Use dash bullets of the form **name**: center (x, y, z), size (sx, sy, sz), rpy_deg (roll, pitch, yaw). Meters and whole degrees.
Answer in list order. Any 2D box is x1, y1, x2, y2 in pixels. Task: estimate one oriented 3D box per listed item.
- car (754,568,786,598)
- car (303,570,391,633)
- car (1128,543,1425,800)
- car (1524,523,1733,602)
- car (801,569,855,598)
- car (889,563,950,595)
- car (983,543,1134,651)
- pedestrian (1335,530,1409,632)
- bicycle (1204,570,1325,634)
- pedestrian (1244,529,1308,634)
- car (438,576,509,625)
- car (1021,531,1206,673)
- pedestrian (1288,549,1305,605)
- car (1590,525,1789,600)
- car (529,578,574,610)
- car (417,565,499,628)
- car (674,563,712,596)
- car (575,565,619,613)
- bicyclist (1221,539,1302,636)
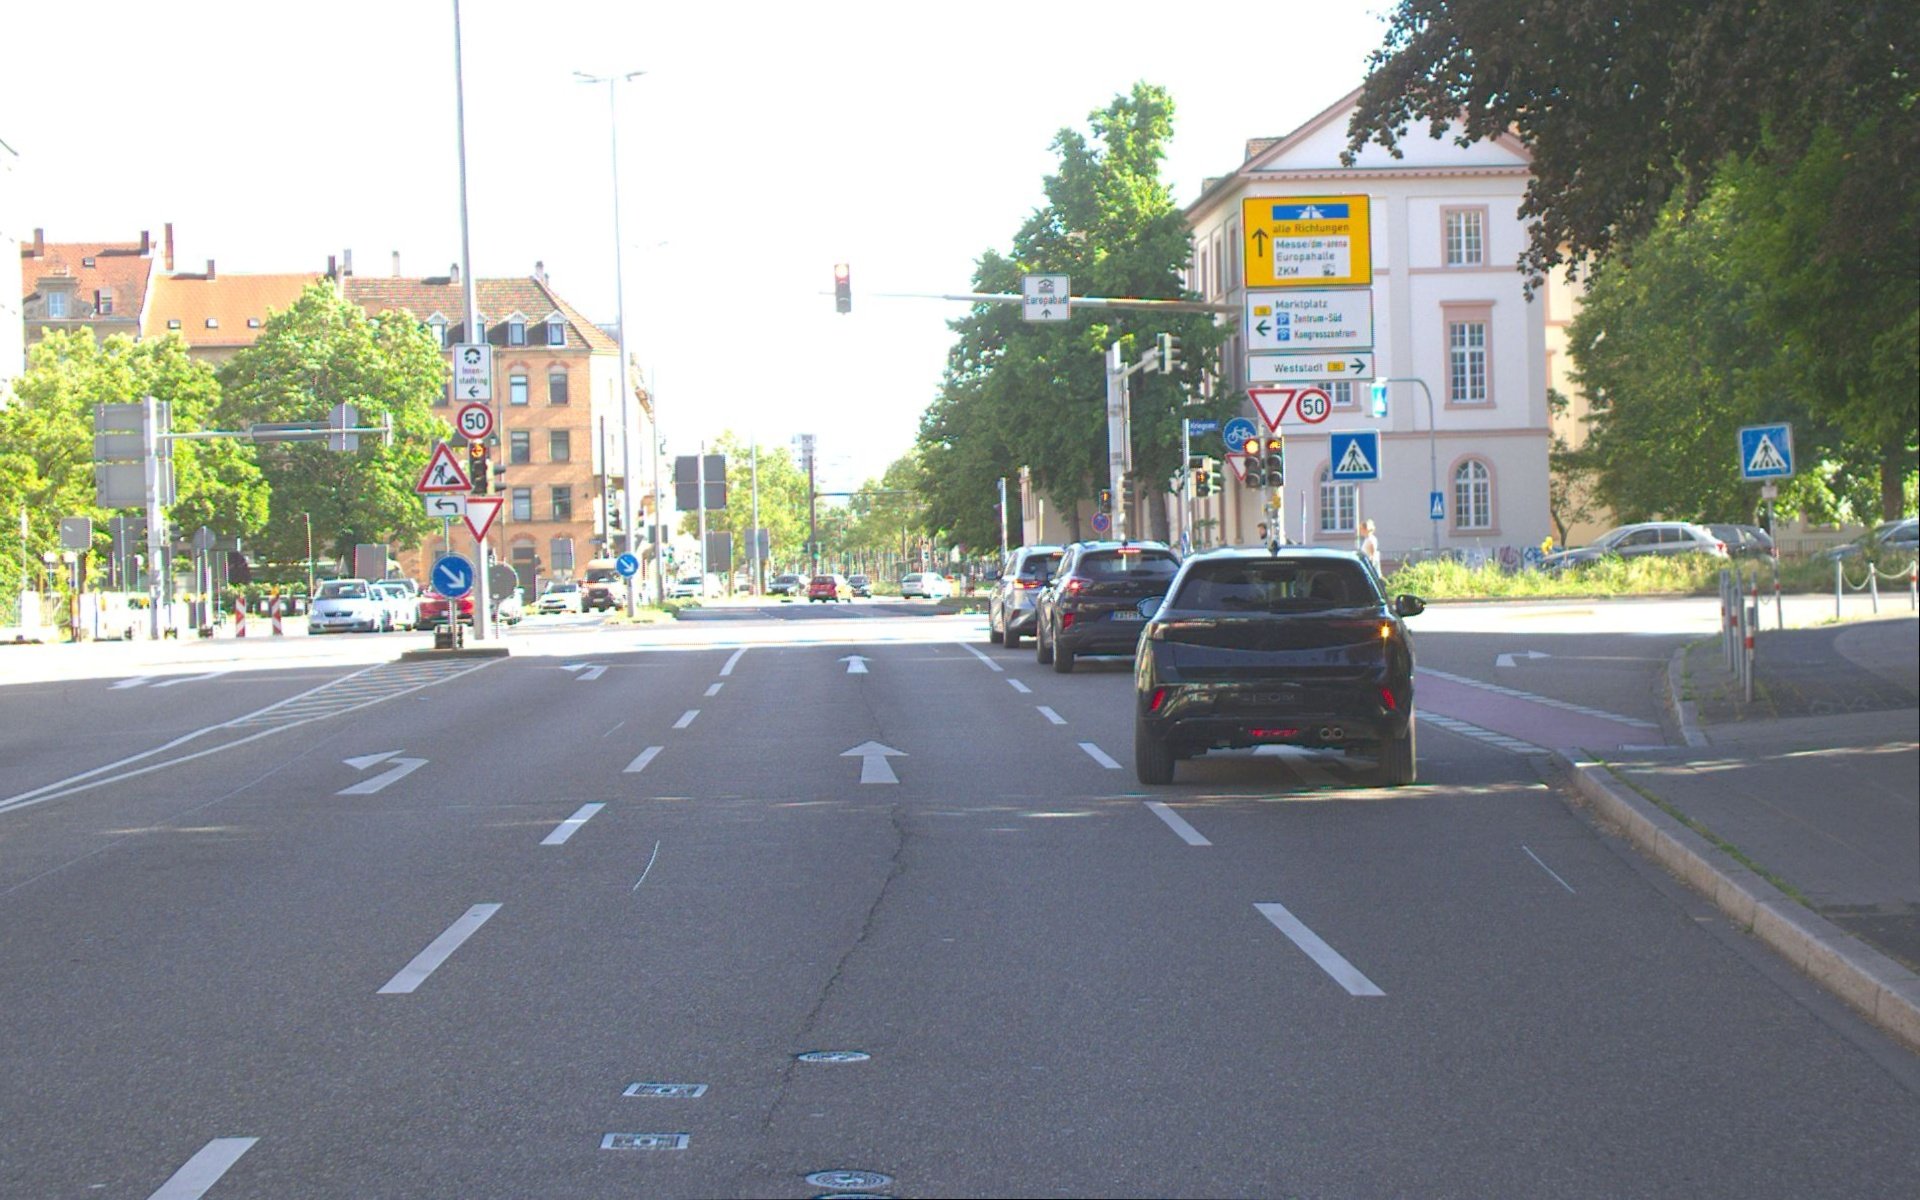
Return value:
- **car**: center (-11.048, -0.992, 199.721), size (1.810, 1.628, 4.001), rpy_deg (-2, 1, -3)
- **car**: center (-16.916, 0.032, 95.078), size (1.874, 1.611, 4.001), rpy_deg (-2, 1, -3)
- **car**: center (2.176, 0.415, 22.860), size (1.746, 1.568, 3.557), rpy_deg (0, 1, 9)
- **car**: center (14.802, -0.837, 76.215), size (4.113, 1.596, 1.823), rpy_deg (-2, 1, -9)
- **car**: center (-6.934, -0.855, 180.886), size (1.811, 1.402, 3.998), rpy_deg (-1, 1, 14)
- **car**: center (-2.289, -1.190, 195.787), size (2.177, 1.692, 3.996), rpy_deg (-1, 1, 21)
- **car**: center (1.378, -0.072, 49.667), size (1.830, 1.447, 3.988), rpy_deg (-2, 1, -3)
- **pedestrian**: center (6.900, -0.320, 57.580), size (1.040, 1.654, 0.784), rpy_deg (-2, 1, -4)
- **bicycle**: center (5.242, 0.031, 59.173), size (2.031, 1.057, 0.622), rpy_deg (-1, 1, -24)
- **pedestrian**: center (5.214, -0.313, 56.747), size (0.825, 1.696, 0.918), rpy_deg (-1, 1, -8)
- **car**: center (-15.556, -0.001, 110.050), size (1.874, 1.443, 4.001), rpy_deg (-2, 1, -3)
- **car**: center (1.795, -0.017, 41.378), size (1.830, 1.573, 3.840), rpy_deg (-2, 1, -3)
- **pedestrian**: center (9.708, -0.662, 99.099), size (0.440, 1.610, 0.467), rpy_deg (1, 0, 3)
- **car**: center (16.927, -0.884, 79.861), size (4.113, 1.596, 1.823), rpy_deg (-2, 1, -9)
- **car**: center (-19.717, -0.289, 166.200), size (1.874, 1.443, 4.001), rpy_deg (-2, 1, -3)
- **car**: center (-13.628, -0.119, 93.482), size (1.791, 1.611, 4.001), rpy_deg (-2, 1, -3)
- **car**: center (-13.898, -1.077, 179.037), size (1.810, 1.628, 4.001), rpy_deg (-2, 1, -3)
- **car**: center (-16.872, -0.537, 159.910), size (1.810, 2.127, 4.001), rpy_deg (-2, 1, -3)
- **bicyclist**: center (5.188, -0.222, 59.106), size (1.165, 1.628, 0.729), rpy_deg (-1, 1, -24)
